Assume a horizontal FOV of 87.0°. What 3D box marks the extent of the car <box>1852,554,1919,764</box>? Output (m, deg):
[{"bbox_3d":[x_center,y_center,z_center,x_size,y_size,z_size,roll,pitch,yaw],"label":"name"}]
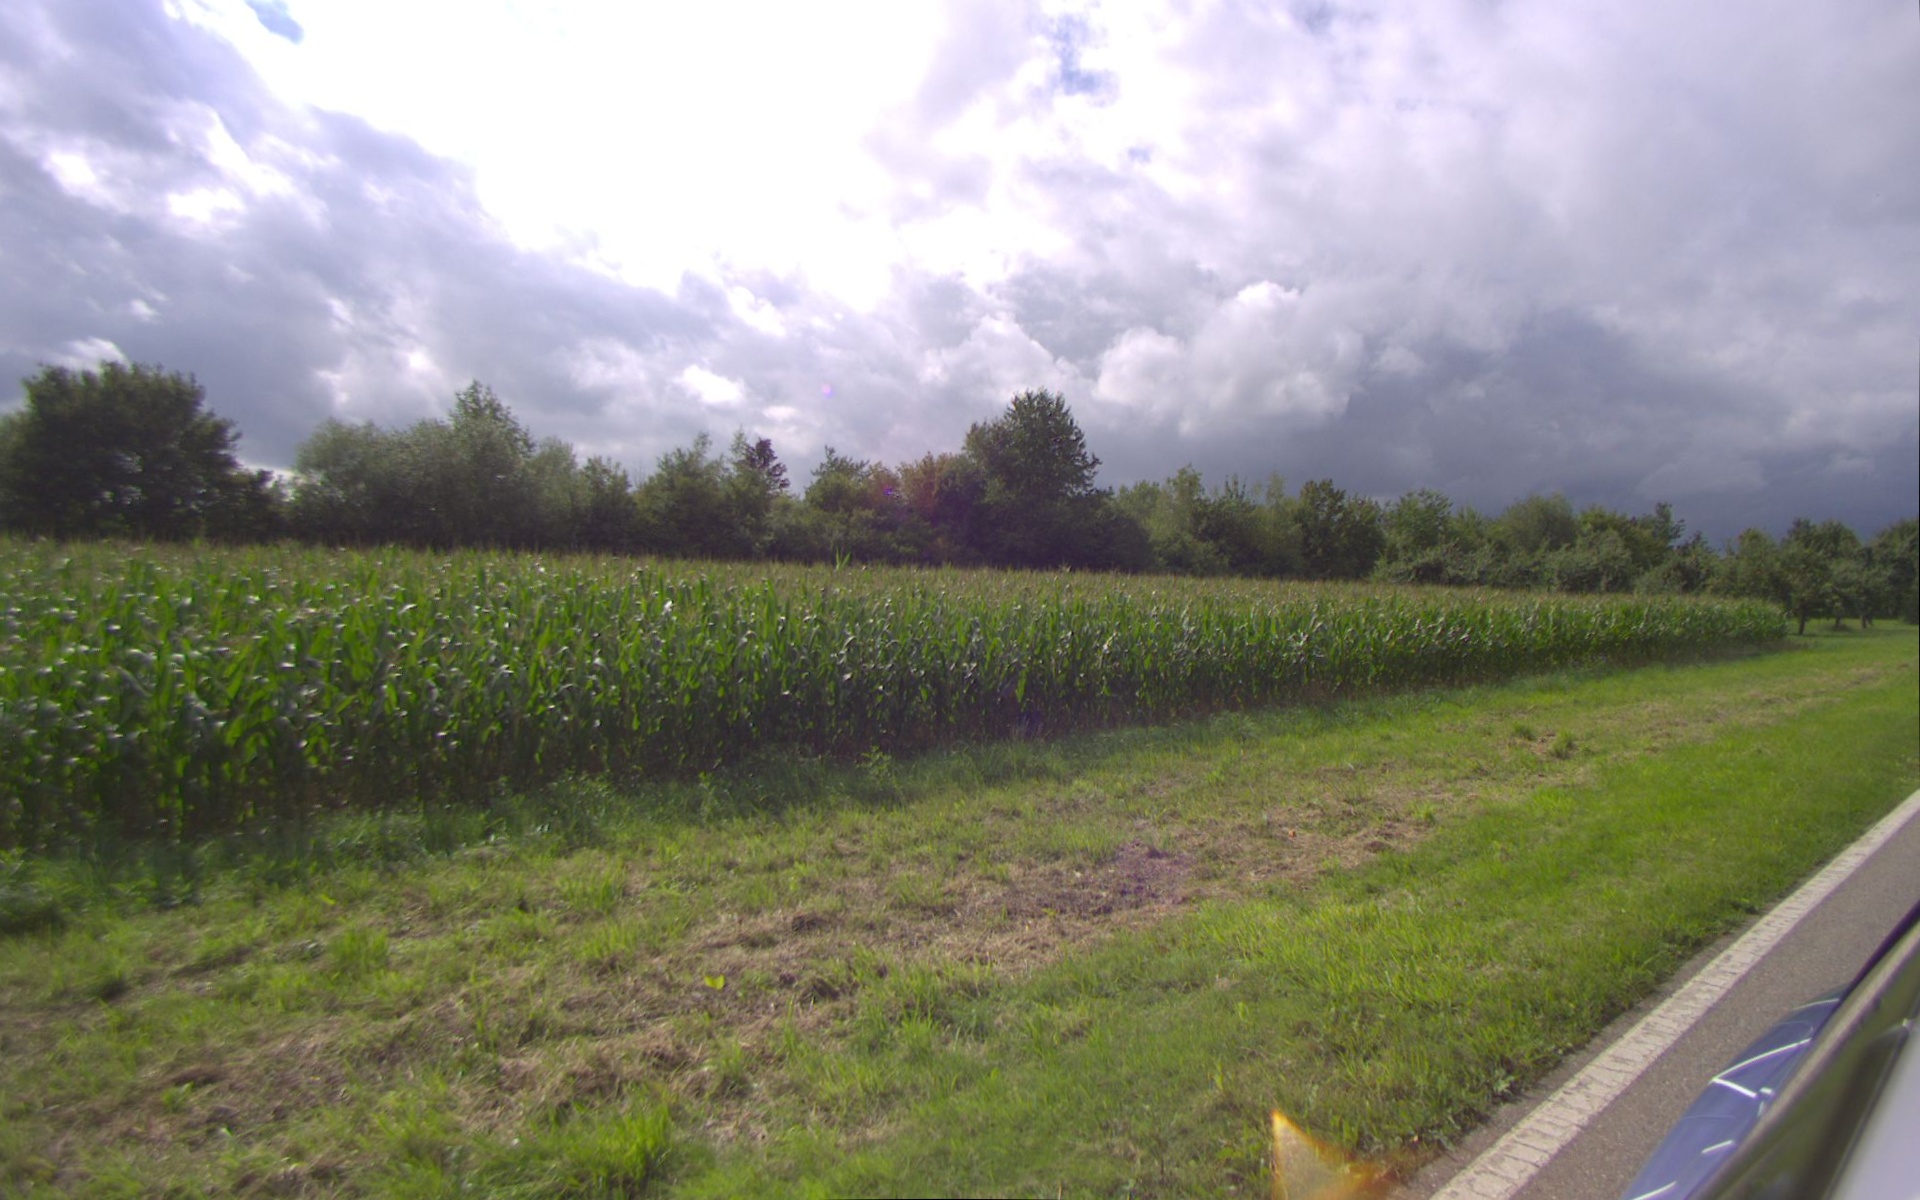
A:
[{"bbox_3d":[9.996,0.556,8.868,1.976,2.039,3.970,-2,-1,22],"label":"car"}]
